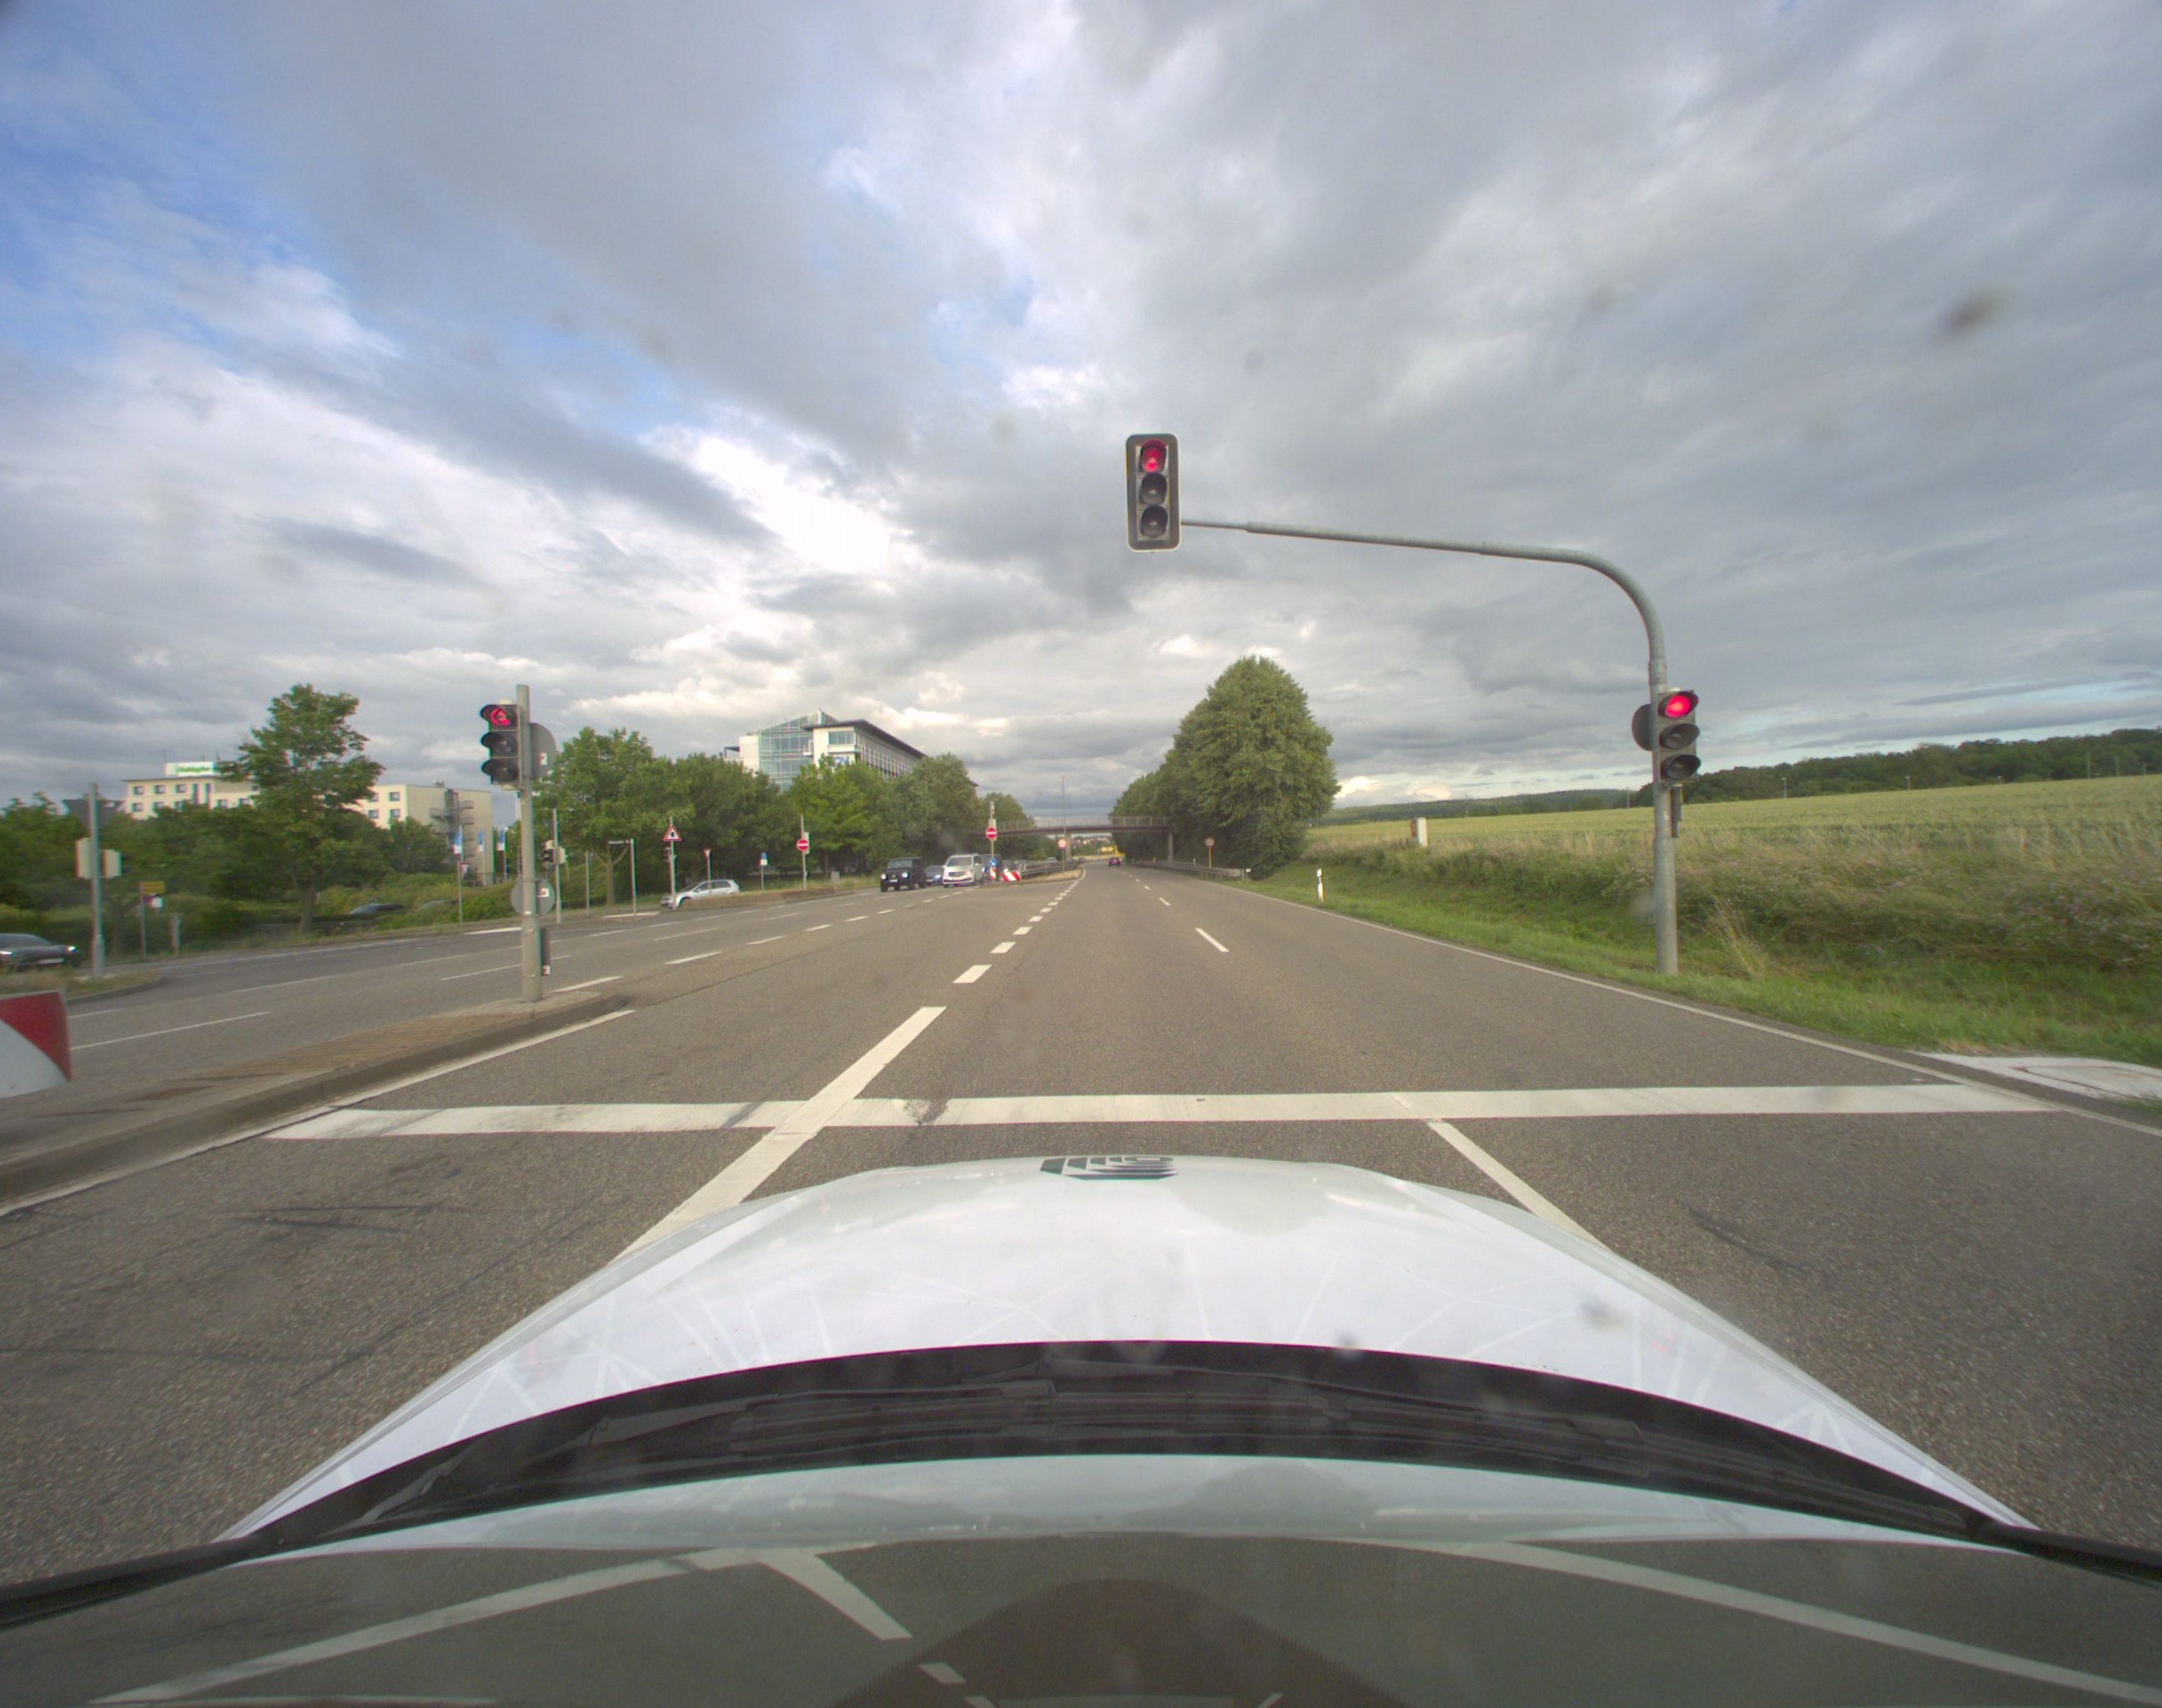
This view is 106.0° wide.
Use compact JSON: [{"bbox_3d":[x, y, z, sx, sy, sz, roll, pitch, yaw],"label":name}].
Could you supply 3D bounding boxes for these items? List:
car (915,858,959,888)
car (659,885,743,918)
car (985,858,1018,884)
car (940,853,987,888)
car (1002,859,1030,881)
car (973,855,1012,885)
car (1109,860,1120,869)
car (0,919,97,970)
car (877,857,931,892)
[{"bbox_3d":[-10.026,1.283,57.138,2.076,2.014,5.216,0,-1,1],"label":"car"},{"bbox_3d":[-20.885,2.585,44.819,1.566,1.342,3.774,-5,0,43],"label":"car"},{"bbox_3d":[-6.268,1.342,64.965,2.076,2.014,5.216,0,-1,1],"label":"car"},{"bbox_3d":[-7.102,0.991,49.676,2.076,2.014,5.216,0,-1,1],"label":"car"},{"bbox_3d":[-6.002,1.442,75.753,2.076,2.014,5.216,0,-1,1],"label":"car"},{"bbox_3d":[-6.185,1.103,57.394,2.076,2.014,5.216,0,-1,1],"label":"car"},{"bbox_3d":[5.713,1.735,138.445,1.873,1.552,4.000,0,-1,1],"label":"car"},{"bbox_3d":[-33.324,2.802,24.551,4.361,1.457,1.914,-2,-4,-11],"label":"car"},{"bbox_3d":[-10.722,1.215,49.649,2.076,2.014,5.216,0,-1,1],"label":"car"}]
